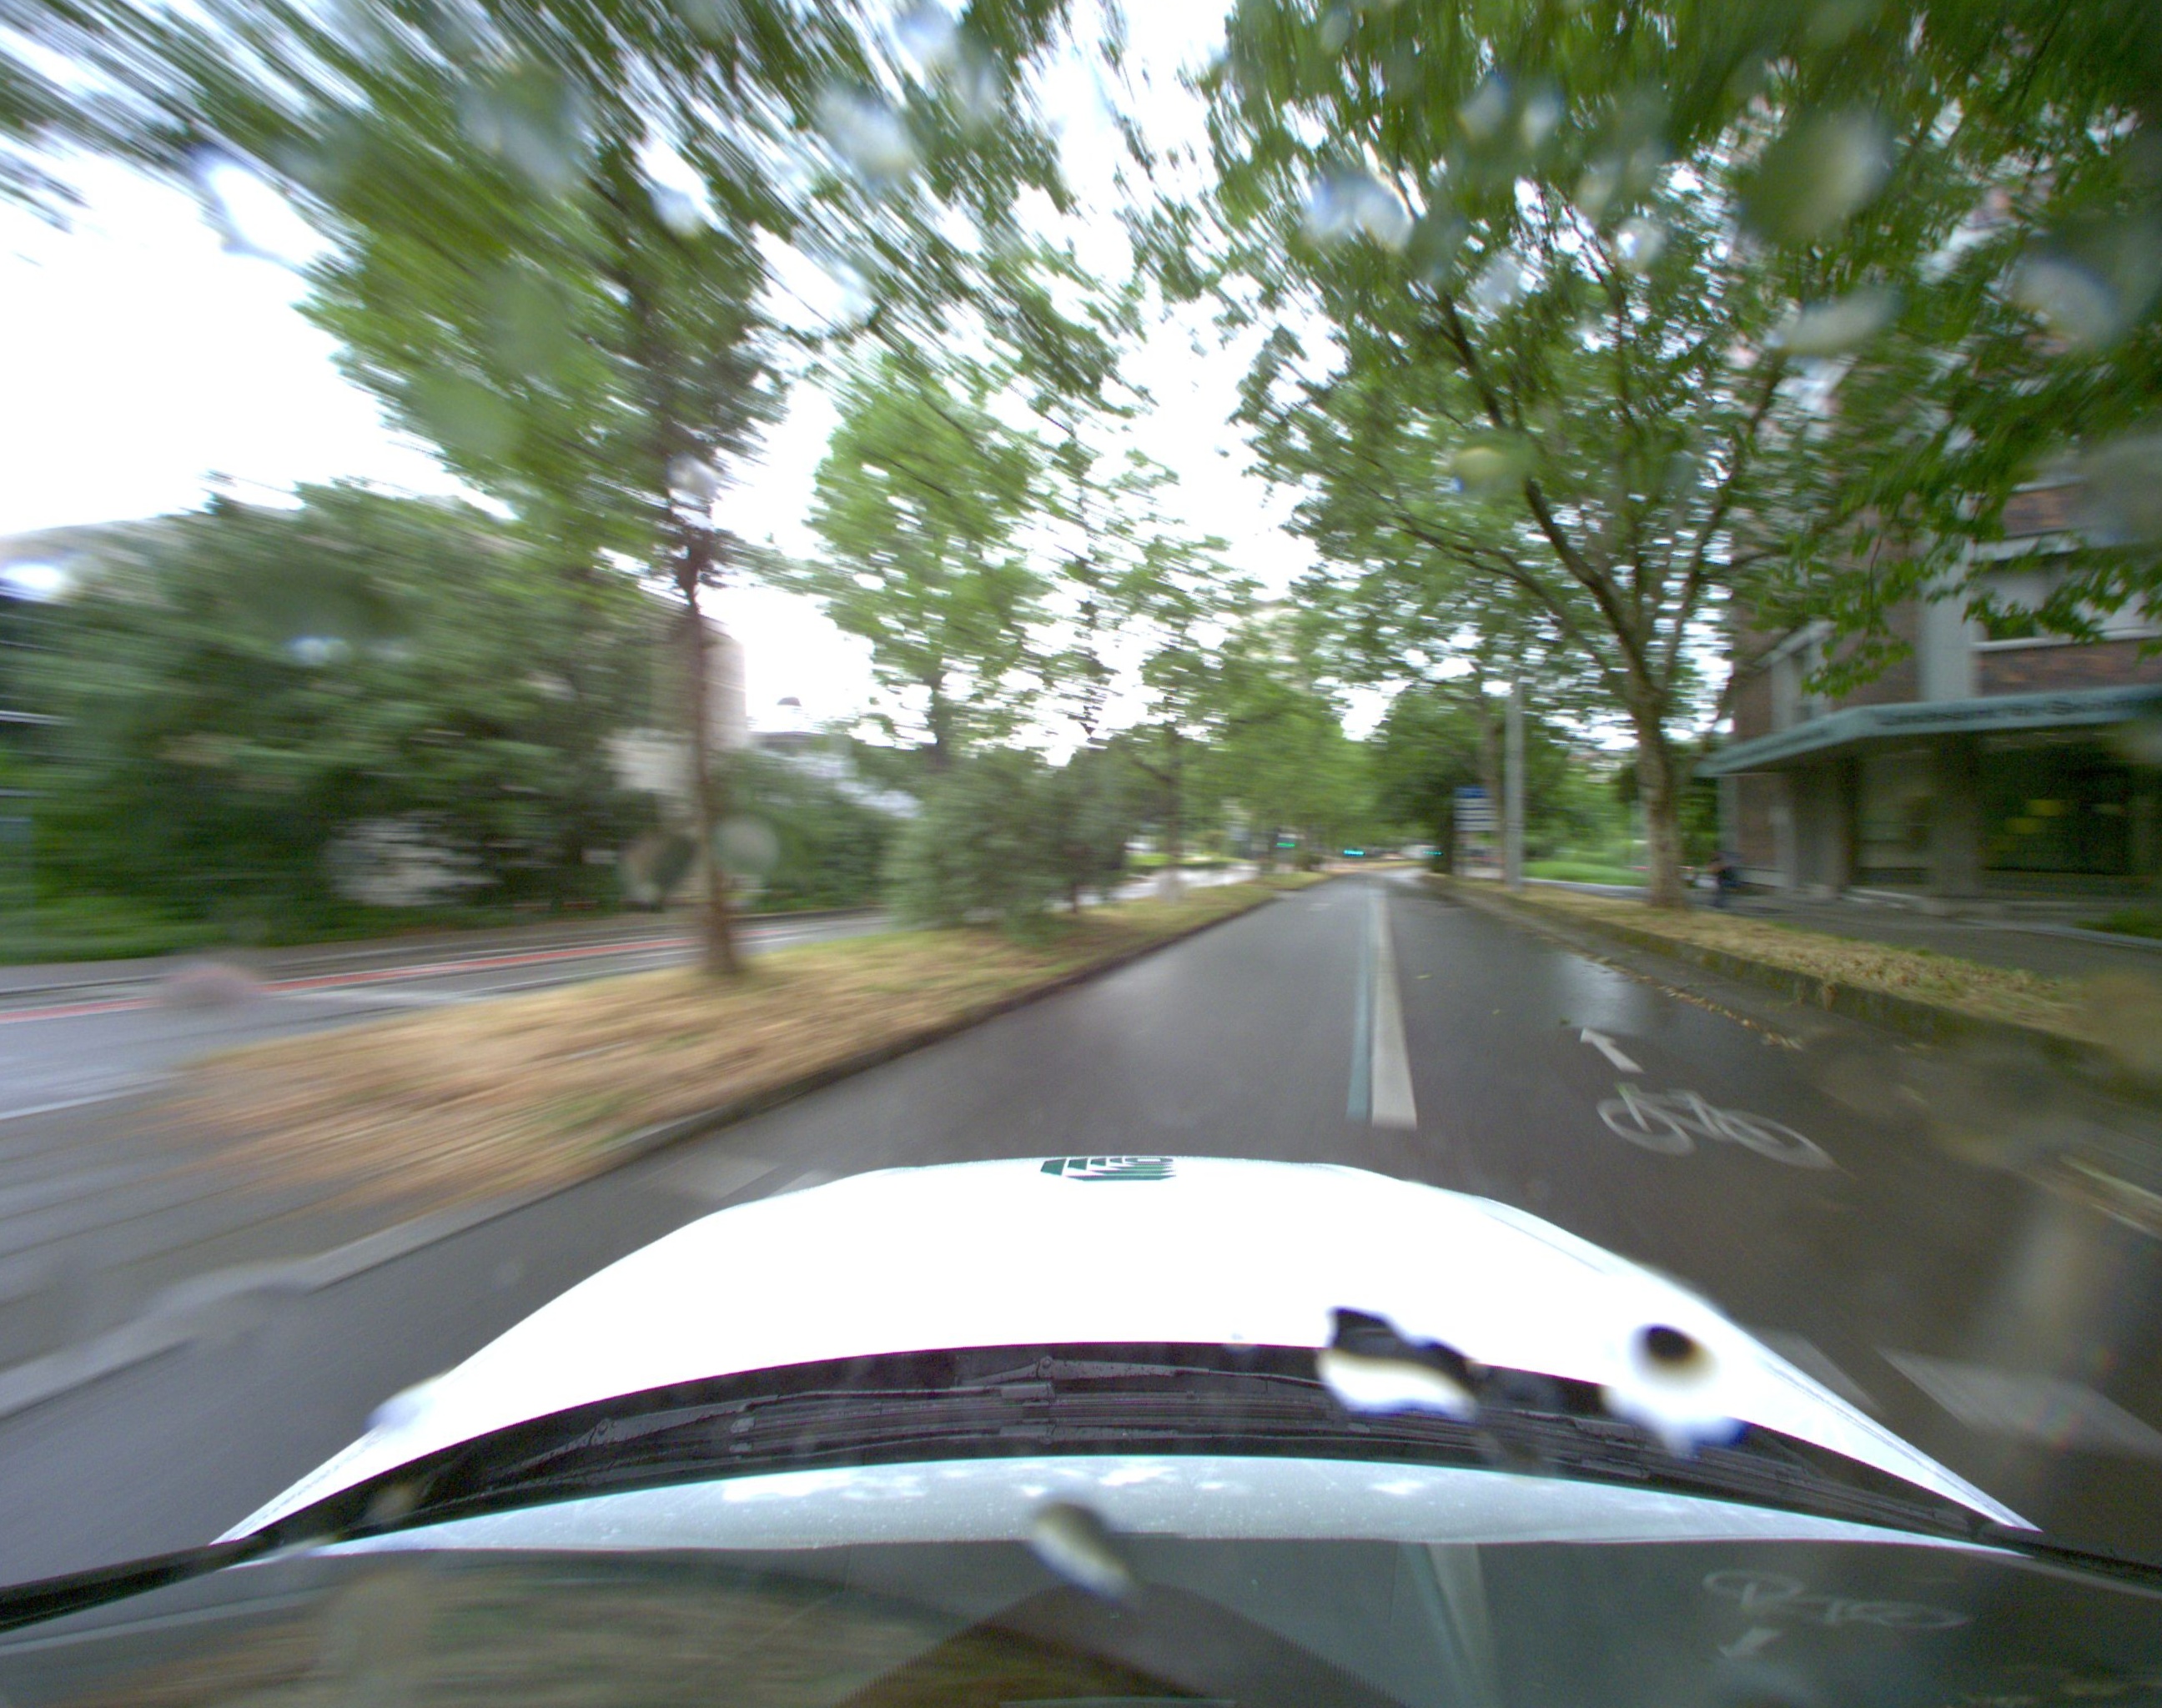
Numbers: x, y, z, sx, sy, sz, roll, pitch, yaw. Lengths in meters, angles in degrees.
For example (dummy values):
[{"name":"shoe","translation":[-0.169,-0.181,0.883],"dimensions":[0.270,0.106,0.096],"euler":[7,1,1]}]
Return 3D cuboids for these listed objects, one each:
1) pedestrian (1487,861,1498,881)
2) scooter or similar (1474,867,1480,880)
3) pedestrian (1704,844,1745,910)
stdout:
[{"name":"pedestrian","translation":[33.033,1.349,65.395],"dimensions":[0.697,1.639,0.939],"euler":[0,-1,18]},{"name":"scooter or similar","translation":[33.271,1.643,68.425],"dimensions":[0.290,1.025,1.071],"euler":[0,-1,19]},{"name":"pedestrian","translation":[16.277,0.564,20.623],"dimensions":[0.516,1.639,0.939],"euler":[0,-1,18]}]
